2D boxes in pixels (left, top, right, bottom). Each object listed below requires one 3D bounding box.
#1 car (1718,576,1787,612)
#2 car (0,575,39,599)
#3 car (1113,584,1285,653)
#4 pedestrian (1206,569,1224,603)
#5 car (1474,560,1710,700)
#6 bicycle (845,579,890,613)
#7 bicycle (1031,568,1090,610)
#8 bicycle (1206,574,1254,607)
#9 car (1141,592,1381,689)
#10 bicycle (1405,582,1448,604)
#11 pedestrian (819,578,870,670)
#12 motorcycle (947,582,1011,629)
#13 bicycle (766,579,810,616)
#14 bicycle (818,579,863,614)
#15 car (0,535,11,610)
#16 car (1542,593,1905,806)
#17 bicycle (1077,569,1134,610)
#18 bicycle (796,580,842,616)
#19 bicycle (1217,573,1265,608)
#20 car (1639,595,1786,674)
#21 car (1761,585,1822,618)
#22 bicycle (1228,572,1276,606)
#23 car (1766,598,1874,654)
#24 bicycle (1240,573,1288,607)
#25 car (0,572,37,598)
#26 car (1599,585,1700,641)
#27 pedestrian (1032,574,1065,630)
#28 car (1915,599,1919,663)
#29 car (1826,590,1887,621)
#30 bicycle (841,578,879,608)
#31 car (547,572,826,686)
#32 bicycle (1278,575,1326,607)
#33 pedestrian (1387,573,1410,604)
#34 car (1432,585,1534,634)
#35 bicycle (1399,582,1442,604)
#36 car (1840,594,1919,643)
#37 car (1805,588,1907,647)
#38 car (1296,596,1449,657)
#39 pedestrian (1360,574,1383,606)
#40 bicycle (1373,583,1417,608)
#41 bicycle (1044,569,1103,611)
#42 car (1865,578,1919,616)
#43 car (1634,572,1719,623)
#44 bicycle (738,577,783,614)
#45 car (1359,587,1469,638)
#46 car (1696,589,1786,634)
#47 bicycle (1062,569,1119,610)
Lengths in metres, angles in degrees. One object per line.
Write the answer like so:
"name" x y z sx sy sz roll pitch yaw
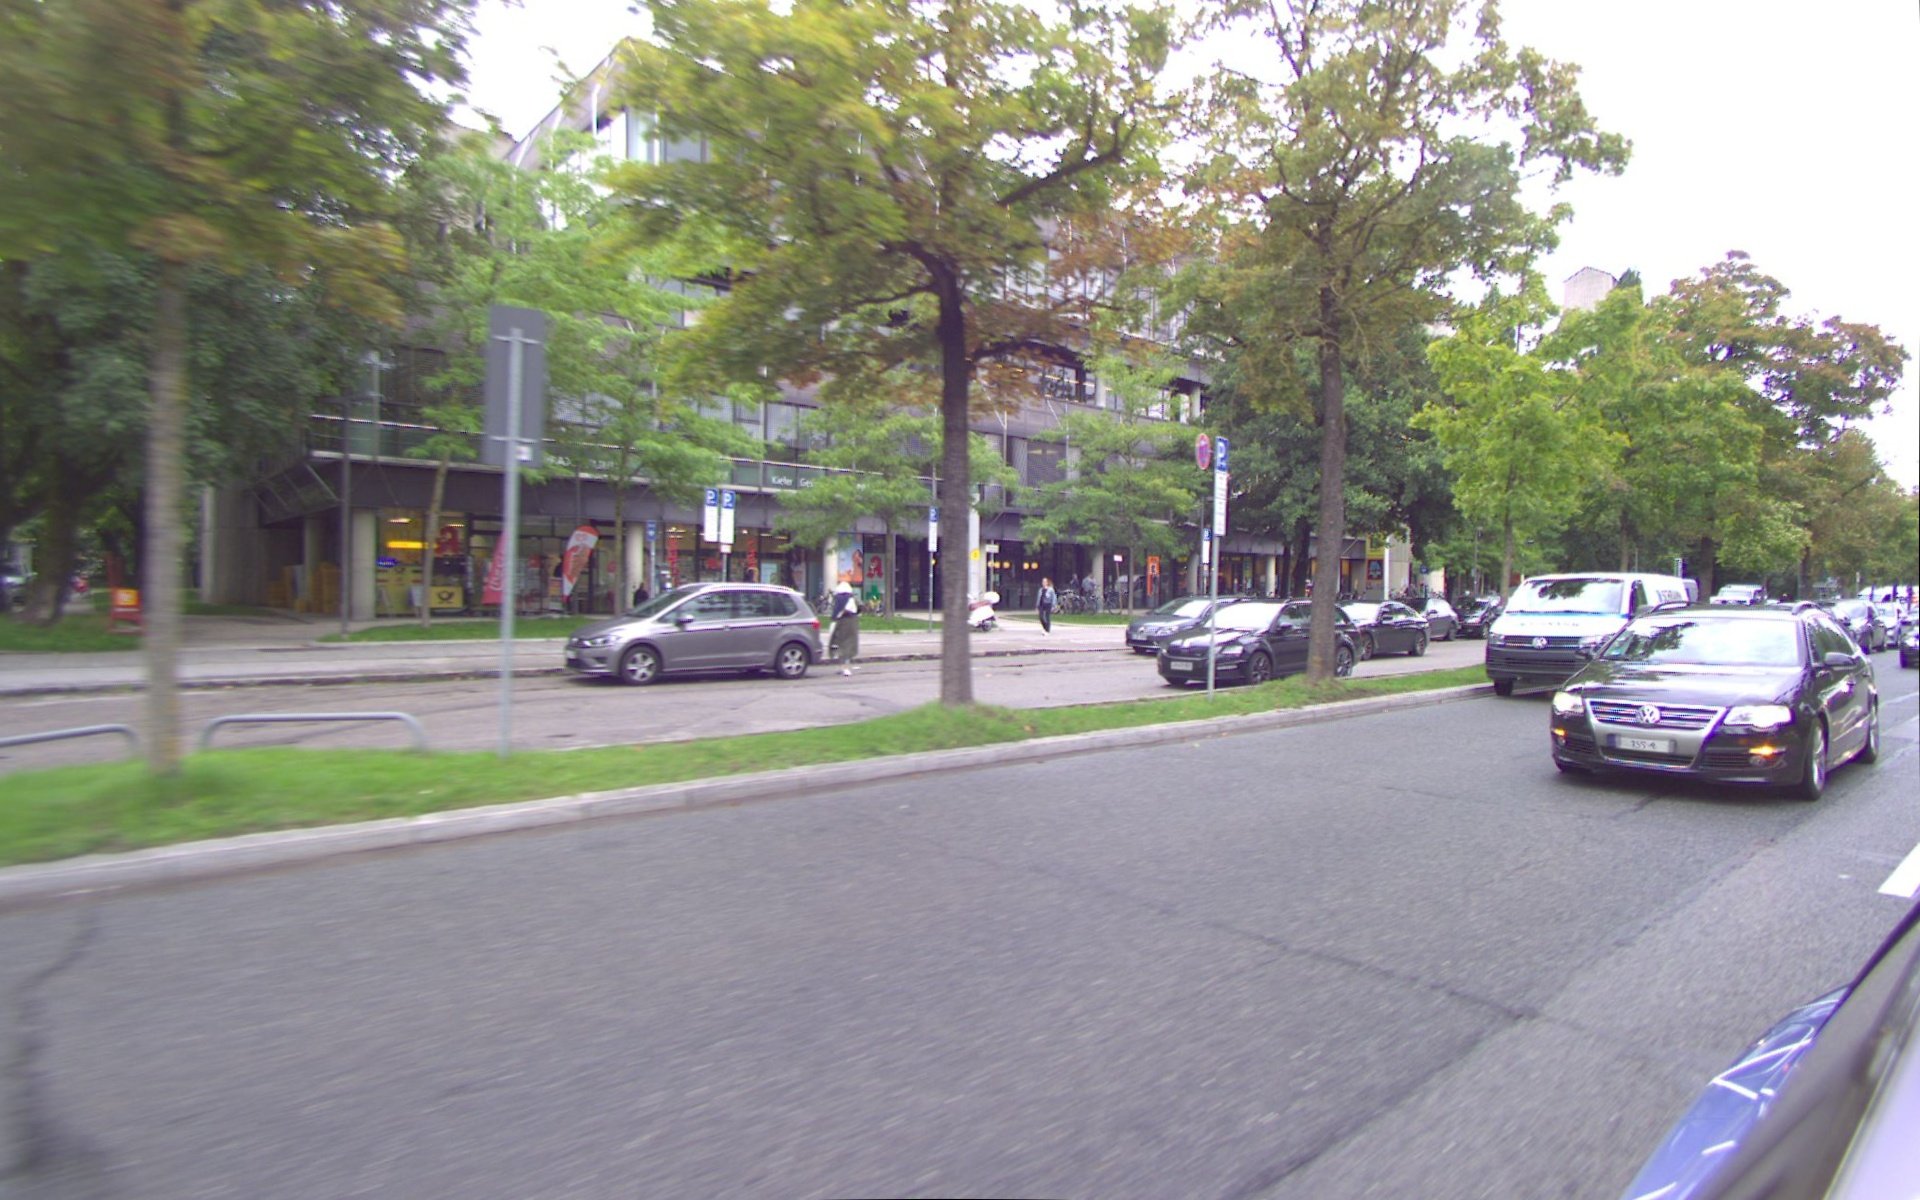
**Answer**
"car" 49.750 -0.364 63.469 5.754 2.130 2.267 0 1 -40
"car" -51.946 -0.740 55.560 3.734 1.216 1.562 3 1 40
"car" 6.105 0.416 25.652 4.518 1.550 1.827 0 2 -39
"pedestrian" 14.314 -0.787 56.800 0.715 1.827 0.668 2 2 -4
"car" 10.360 0.410 16.434 4.846 1.952 1.884 0 0 -40
"bicycle" -3.209 -0.160 35.058 0.447 1.134 2.079 0 1 -39
"bicycle" 3.962 -0.452 40.081 2.299 1.643 0.641 1 1 34
"bicycle" 12.929 -0.468 48.521 0.638 1.551 2.312 0 1 -40
"car" 5.261 0.598 17.342 4.609 1.450 1.731 0 0 -41
"bicycle" 28.332 -0.448 61.465 0.637 1.318 2.313 0 1 -38
"pedestrian" -2.092 0.426 18.252 0.738 1.614 0.660 1 0 -21
"motorcycle" 0.540 0.141 28.380 1.914 1.245 0.473 -1 4 -41
"bicycle" -5.595 -0.091 32.844 0.447 1.134 2.079 0 1 -39
"bicycle" -4.072 -0.116 34.244 0.447 1.134 2.079 0 1 -39
"car" -29.566 -0.859 29.061 6.075 2.078 2.315 2 2 36
"car" 6.915 0.672 8.984 4.365 1.451 1.733 0 0 -41
"bicycle" 6.053 -0.447 42.145 2.299 1.643 0.641 1 1 34
"bicycle" -4.674 -0.070 33.431 0.447 1.134 2.079 0 1 -39
"bicycle" 13.693 -0.480 49.345 0.638 1.643 2.312 0 1 -40
"car" 15.494 0.645 20.765 3.973 1.467 1.698 0 0 -42
"car" 57.265 0.082 69.662 5.754 2.130 2.267 0 1 -40
"bicycle" 14.384 -0.538 49.901 0.638 1.643 2.312 0 1 -40
"car" 23.118 0.644 27.162 4.011 1.392 1.684 0 0 -42
"bicycle" 15.111 -0.516 50.415 0.638 1.643 2.312 0 1 -40
"car" -42.055 -0.662 44.613 3.734 1.029 1.571 3 1 40
"car" 20.229 0.355 29.642 3.812 1.538 1.652 0 0 -43
"pedestrian" 2.543 0.038 29.045 0.657 1.561 0.624 4 3 36
"car" 23.693 0.681 23.543 4.385 1.431 1.761 0 0 -41
"car" 46.543 0.285 52.506 3.983 1.562 1.825 0 0 -40
"bicycle" -3.868 -0.263 39.271 1.529 1.134 0.454 0 1 -44
"car" -4.487 0.406 16.890 4.121 1.654 1.827 0 2 -38
"bicycle" 17.941 -0.486 53.168 2.299 1.643 0.641 1 1 34
"pedestrian" 24.660 -0.631 56.969 0.754 1.719 0.876 0 2 -25
"car" 19.502 0.322 37.665 4.422 1.654 1.825 0 2 -41
"bicycle" 27.686 -0.438 60.932 0.637 1.318 2.313 0 1 -38
"car" 31.227 0.614 34.042 4.385 1.542 1.685 0 -2 -39
"car" 27.156 0.515 30.629 4.386 1.662 1.685 0 -2 -40
"car" 10.468 0.607 25.582 4.273 1.397 1.726 0 0 -39
"pedestrian" 22.633 -0.549 55.676 0.856 1.719 0.772 0 2 -25
"bicycle" 25.371 -0.279 59.076 0.637 1.365 2.313 0 1 -38
"bicycle" 4.571 -0.428 40.771 2.299 1.643 0.641 1 1 34
"car" 67.989 -0.225 72.246 5.880 2.691 1.983 0 0 -13
"car" 37.824 -0.137 53.347 5.754 2.560 2.267 0 1 -40
"bicycle" -6.386 -0.150 32.326 0.447 1.134 2.079 0 1 -39
"car" 15.286 0.407 33.974 4.526 1.550 1.824 1 2 -44
"car" 29.597 0.415 38.305 4.791 1.611 1.824 0 0 -42
"bicycle" 5.351 -0.432 41.616 2.299 1.643 0.641 1 1 34
